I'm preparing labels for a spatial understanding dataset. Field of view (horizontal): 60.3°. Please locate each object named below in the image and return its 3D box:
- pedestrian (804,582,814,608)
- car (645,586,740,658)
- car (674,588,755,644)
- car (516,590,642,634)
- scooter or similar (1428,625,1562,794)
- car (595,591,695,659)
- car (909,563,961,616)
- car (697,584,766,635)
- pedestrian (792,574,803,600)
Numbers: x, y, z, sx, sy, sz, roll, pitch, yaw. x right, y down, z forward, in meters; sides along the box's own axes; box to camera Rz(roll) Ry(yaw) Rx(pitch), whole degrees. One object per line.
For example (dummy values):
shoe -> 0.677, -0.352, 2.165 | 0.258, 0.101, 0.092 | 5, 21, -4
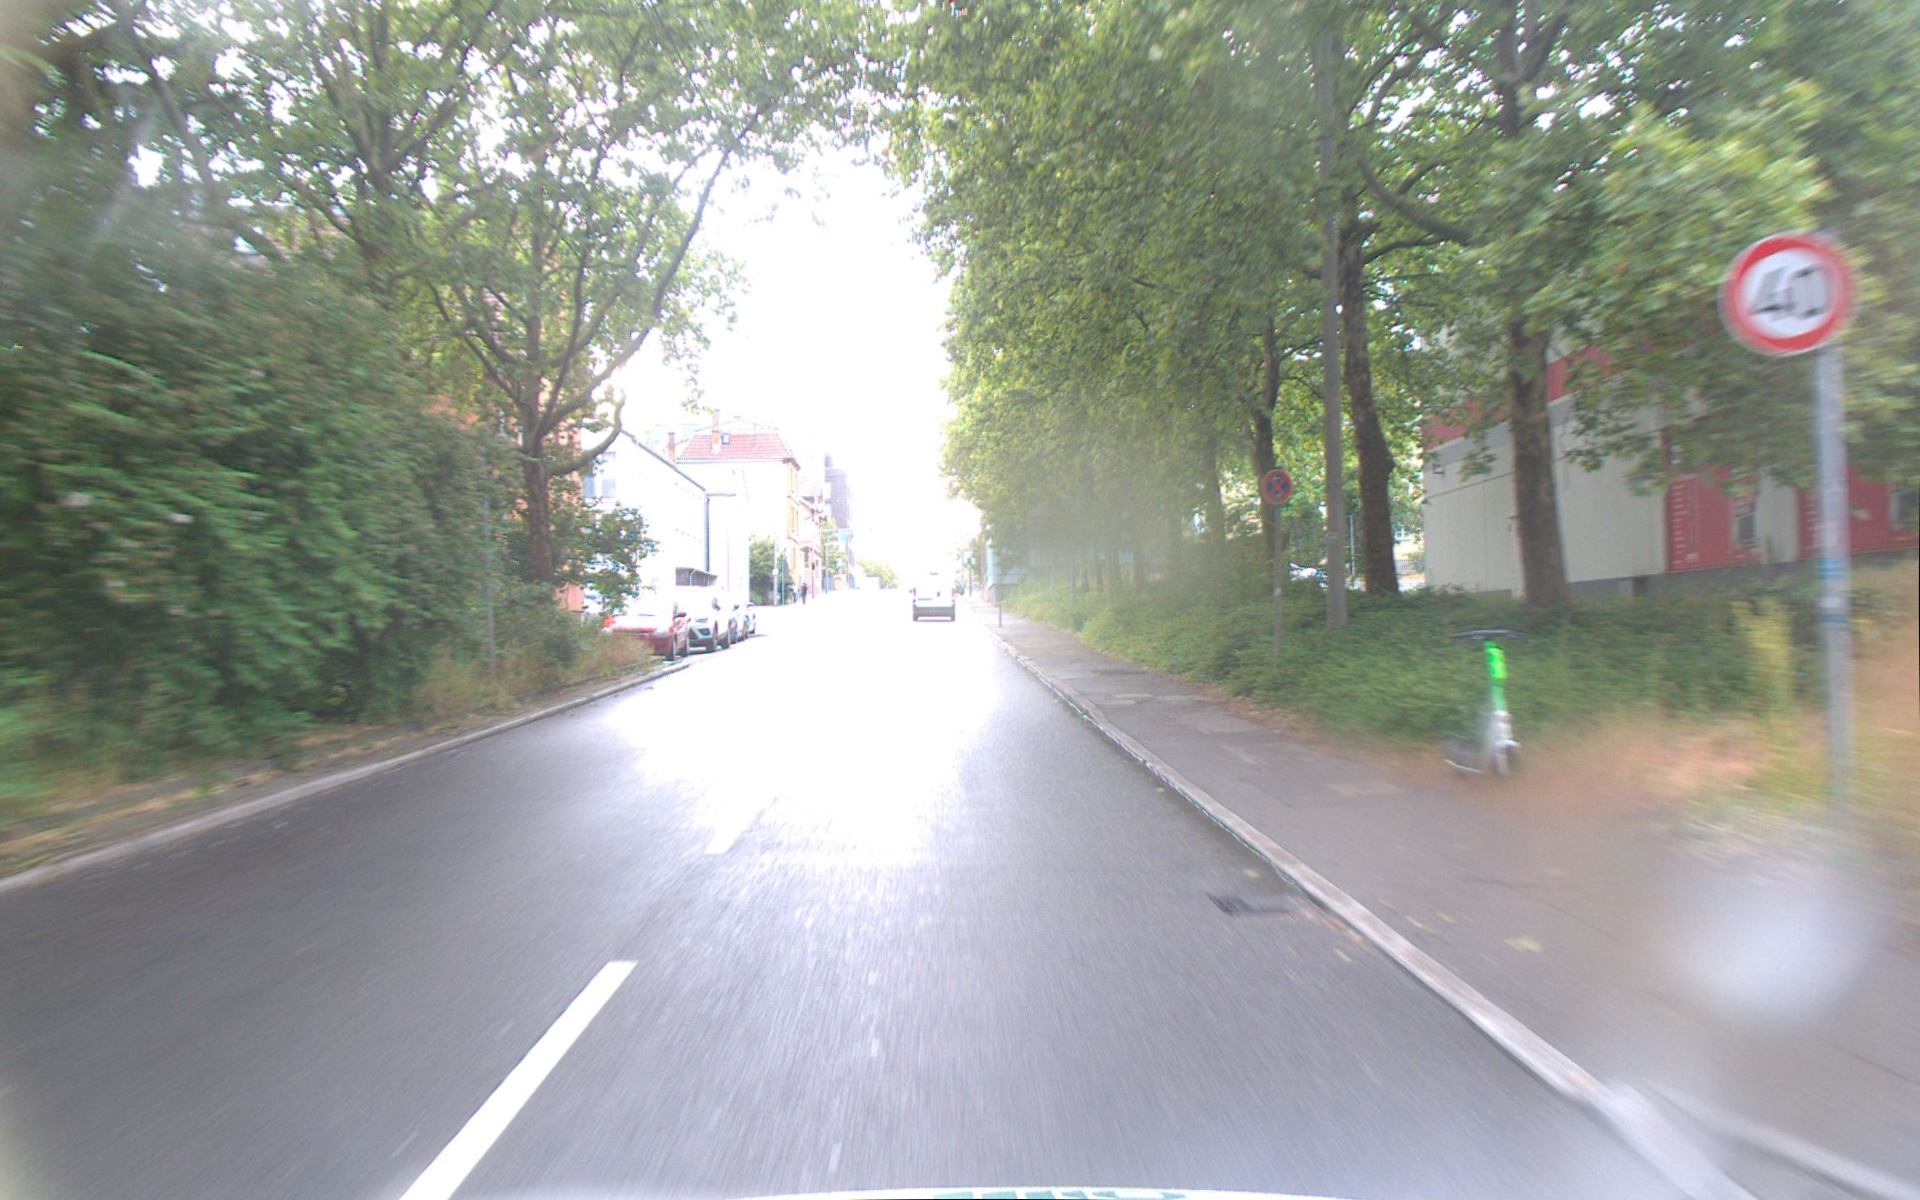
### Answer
pedestrian -> -11.614, -0.378, 127.027 | 0.657, 2.049, 0.942 | 0, 0, 3
car -> -6.615, 0.511, 41.251 | 1.657, 1.569, 4.117 | -3, 1, -1
car -> -6.969, 0.418, 47.349 | 1.708, 1.508, 4.385 | -1, 0, -1
car -> -14.233, 0.434, 61.936 | 4.202, 1.488, 2.068 | -1, 0, -1
scooter or similar -> 3.926, 0.782, 12.226 | 0.417, 1.162, 1.528 | 1, -2, -3
car -> -6.763, 0.510, 35.843 | 1.606, 1.397, 3.757 | 0, 0, -3
car -> -1.155, -0.461, 77.239 | 2.288, 2.270, 3.999 | -1, -1, 0
car -> -7.185, 0.295, 52.371 | 1.601, 1.508, 4.358 | 1, 0, -1
pedestrian -> -12.494, -1.000, 127.032 | 0.657, 2.049, 0.942 | 0, 0, 3
